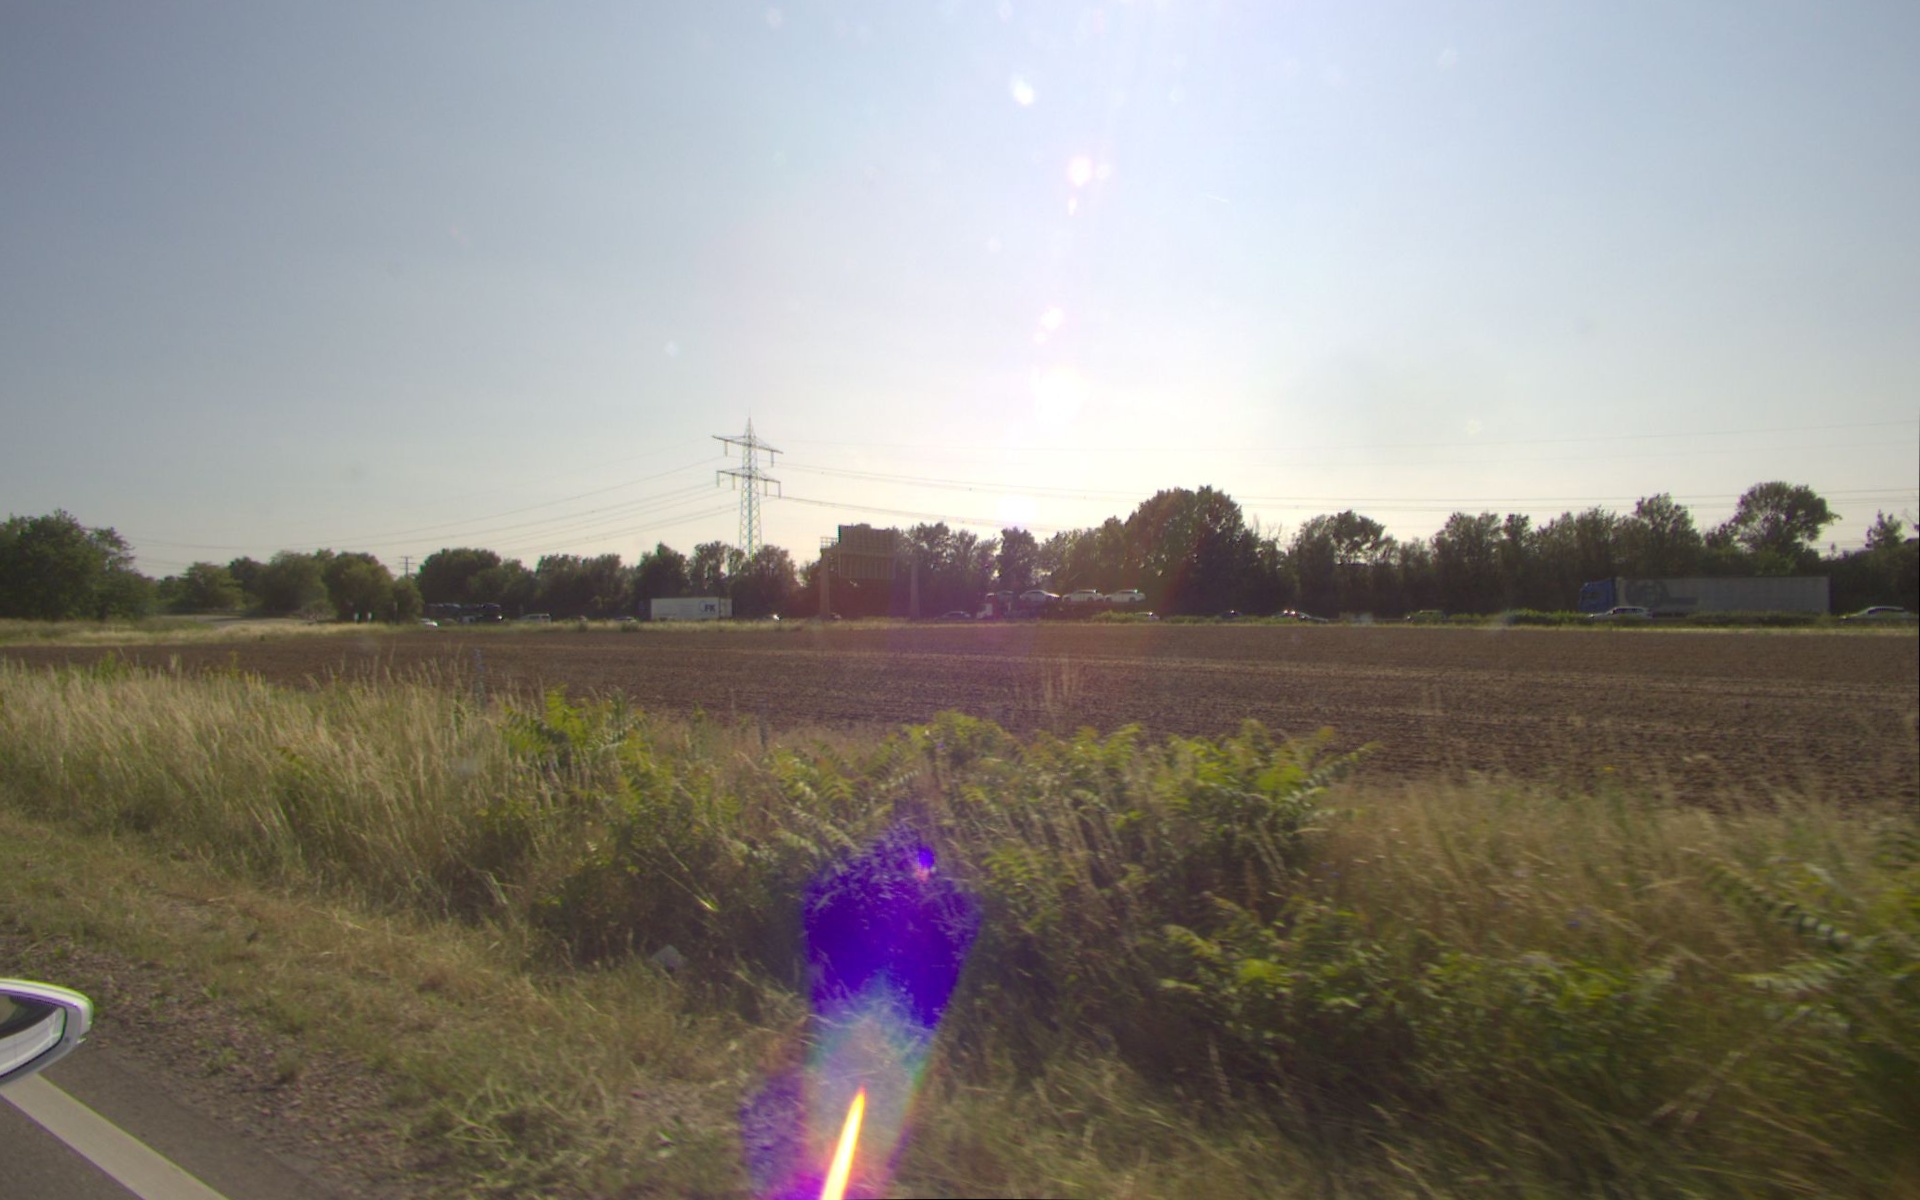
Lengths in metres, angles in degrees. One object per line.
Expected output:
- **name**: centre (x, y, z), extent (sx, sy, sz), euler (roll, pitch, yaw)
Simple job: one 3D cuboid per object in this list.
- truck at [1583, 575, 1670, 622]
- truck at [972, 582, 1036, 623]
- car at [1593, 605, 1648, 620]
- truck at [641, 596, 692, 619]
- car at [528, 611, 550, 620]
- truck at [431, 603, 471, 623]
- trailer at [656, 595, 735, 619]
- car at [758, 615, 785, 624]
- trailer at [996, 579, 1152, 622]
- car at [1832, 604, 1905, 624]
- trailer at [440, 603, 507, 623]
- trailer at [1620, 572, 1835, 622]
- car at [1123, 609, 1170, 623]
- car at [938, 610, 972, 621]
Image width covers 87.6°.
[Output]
- **truck**: centre (55.806, -0.065, 84.024), extent (6.002, 3.782, 3.065), euler (0, -1, 34)
- **truck**: centre (5.060, 0.291, 115.135), extent (6.606, 4.512, 3.416), euler (-1, 0, 30)
- **car**: centre (51.557, 0.975, 78.215), extent (3.530, 1.166, 1.392), euler (0, -1, 33)
- **truck**: centre (-42.495, 1.062, 144.973), extent (6.877, 3.310, 3.278), euler (-1, 0, 31)
- **car**: centre (-62.156, 2.302, 147.912), extent (3.135, 1.166, 1.392), euler (0, -1, 32)
- **truck**: centre (-86.379, 2.158, 169.882), extent (6.334, 3.310, 3.279), euler (0, 0, 31)
- **trailer**: centre (-37.554, 0.986, 141.968), extent (12.274, 3.310, 3.278), euler (-1, 0, 31)
- **car**: centre (-25.015, 2.539, 133.018), extent (3.528, 1.166, 1.393), euler (0, -1, 30)
- **trailer**: centre (12.397, 0.177, 110.837), extent (17.303, 4.512, 3.416), euler (-1, 0, 30)
- **car**: centre (64.253, 1.000, 70.888), extent (3.551, 1.403, 1.489), euler (0, -1, 32)
- **trailer**: centre (-81.032, 2.149, 166.645), extent (13.254, 3.310, 3.279), euler (0, 0, 31)
- **trailer**: centre (61.148, -0.142, 80.469), extent (13.440, 3.782, 3.065), euler (-1, -1, 34)
- **car**: centre (18.480, 1.588, 99.423), extent (4.186, 1.403, 1.848), euler (0, -1, 32)
- **car**: centre (-0.511, 1.724, 110.496), extent (3.528, 1.166, 1.393), euler (0, -1, 30)
